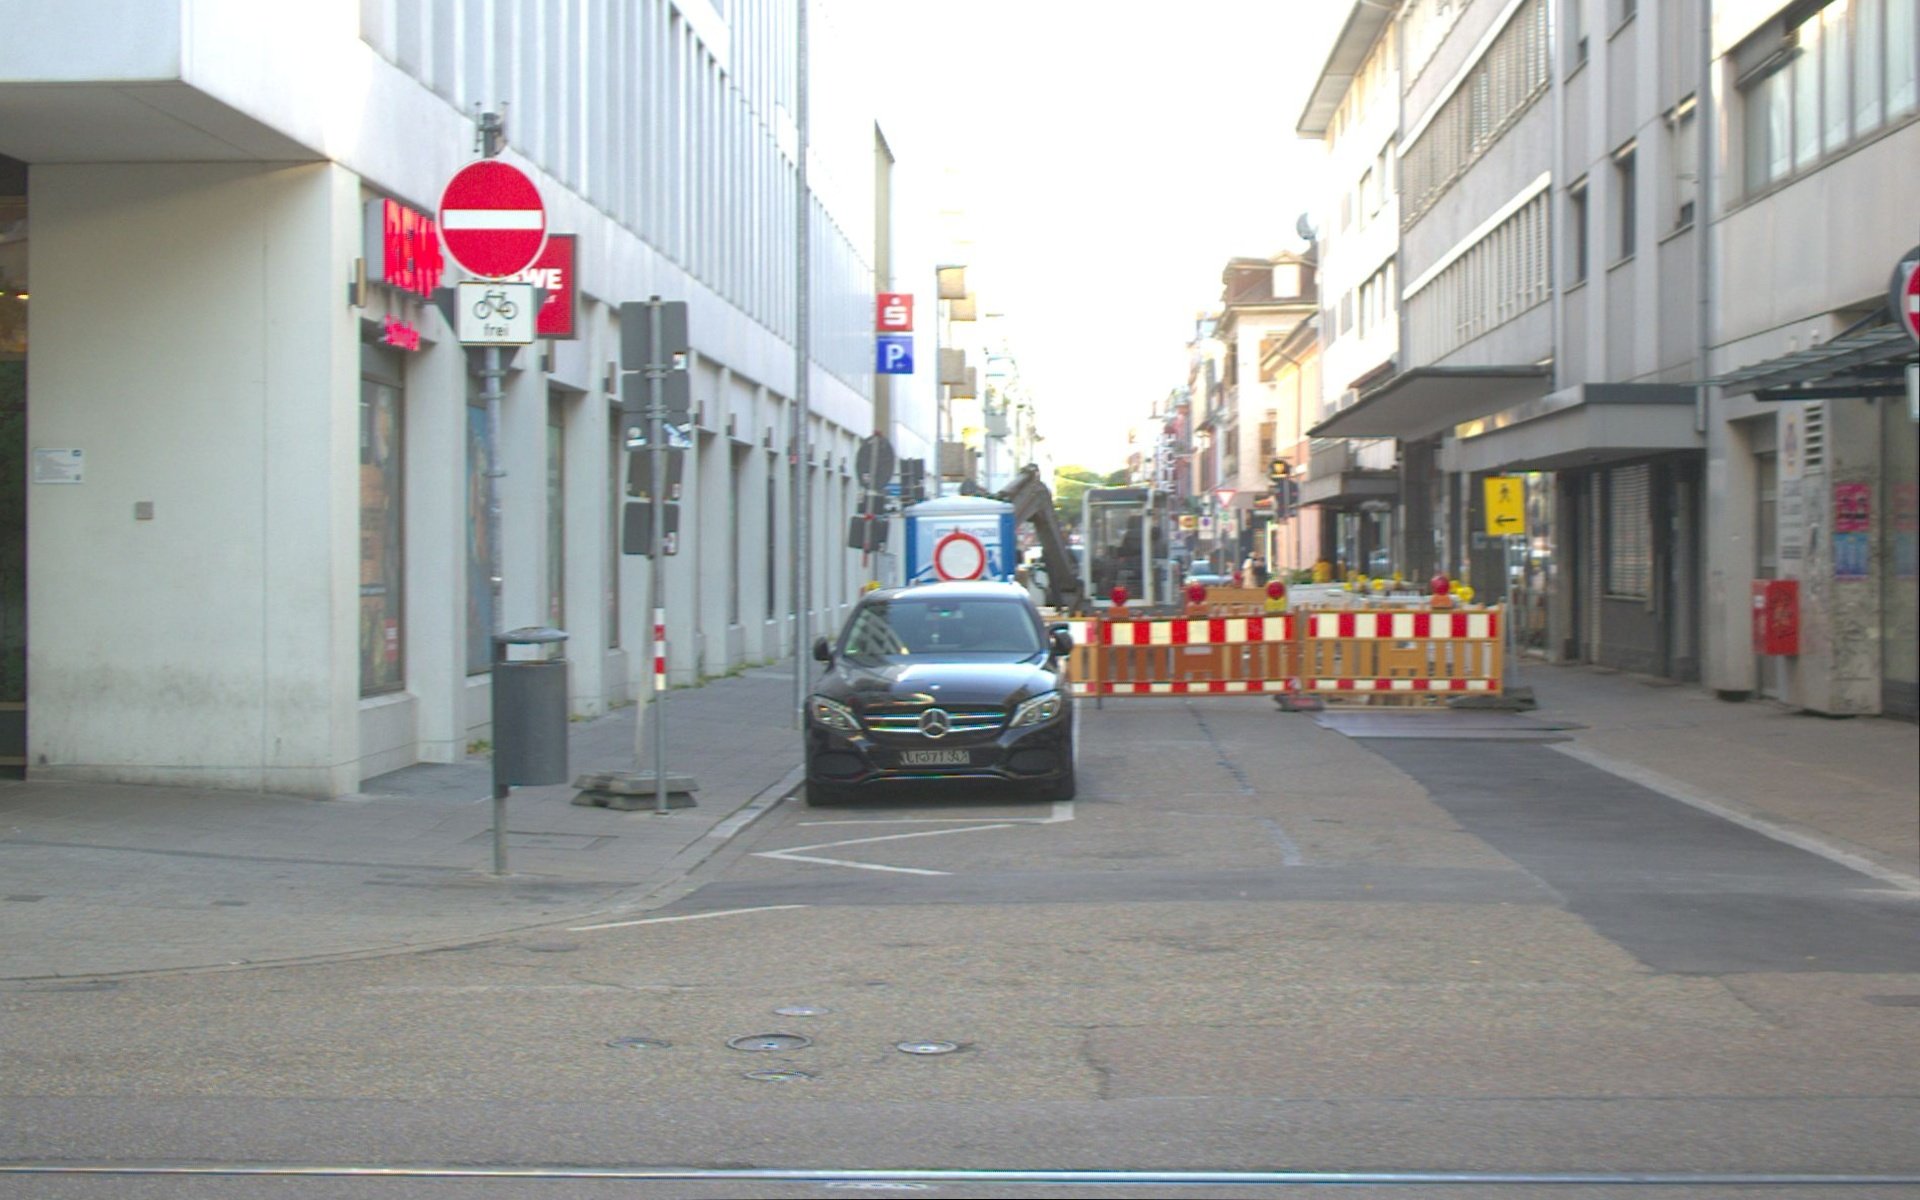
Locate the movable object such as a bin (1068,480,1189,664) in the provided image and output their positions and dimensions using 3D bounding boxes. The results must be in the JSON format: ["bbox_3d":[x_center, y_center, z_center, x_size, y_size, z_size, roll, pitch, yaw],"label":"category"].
[{"bbox_3d":[2.339,-0.387,47.462,1.437,2.485,1.757,0,1,11],"label":"movable object such as a bin"}]

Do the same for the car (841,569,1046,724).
[{"bbox_3d":[-0.107,0.435,35.063,1.774,1.470,4.151,-1,0,4],"label":"car"}]

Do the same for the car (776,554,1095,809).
[{"bbox_3d":[-0.076,0.513,24.027,1.897,1.607,4.151,-1,0,4],"label":"car"}]
